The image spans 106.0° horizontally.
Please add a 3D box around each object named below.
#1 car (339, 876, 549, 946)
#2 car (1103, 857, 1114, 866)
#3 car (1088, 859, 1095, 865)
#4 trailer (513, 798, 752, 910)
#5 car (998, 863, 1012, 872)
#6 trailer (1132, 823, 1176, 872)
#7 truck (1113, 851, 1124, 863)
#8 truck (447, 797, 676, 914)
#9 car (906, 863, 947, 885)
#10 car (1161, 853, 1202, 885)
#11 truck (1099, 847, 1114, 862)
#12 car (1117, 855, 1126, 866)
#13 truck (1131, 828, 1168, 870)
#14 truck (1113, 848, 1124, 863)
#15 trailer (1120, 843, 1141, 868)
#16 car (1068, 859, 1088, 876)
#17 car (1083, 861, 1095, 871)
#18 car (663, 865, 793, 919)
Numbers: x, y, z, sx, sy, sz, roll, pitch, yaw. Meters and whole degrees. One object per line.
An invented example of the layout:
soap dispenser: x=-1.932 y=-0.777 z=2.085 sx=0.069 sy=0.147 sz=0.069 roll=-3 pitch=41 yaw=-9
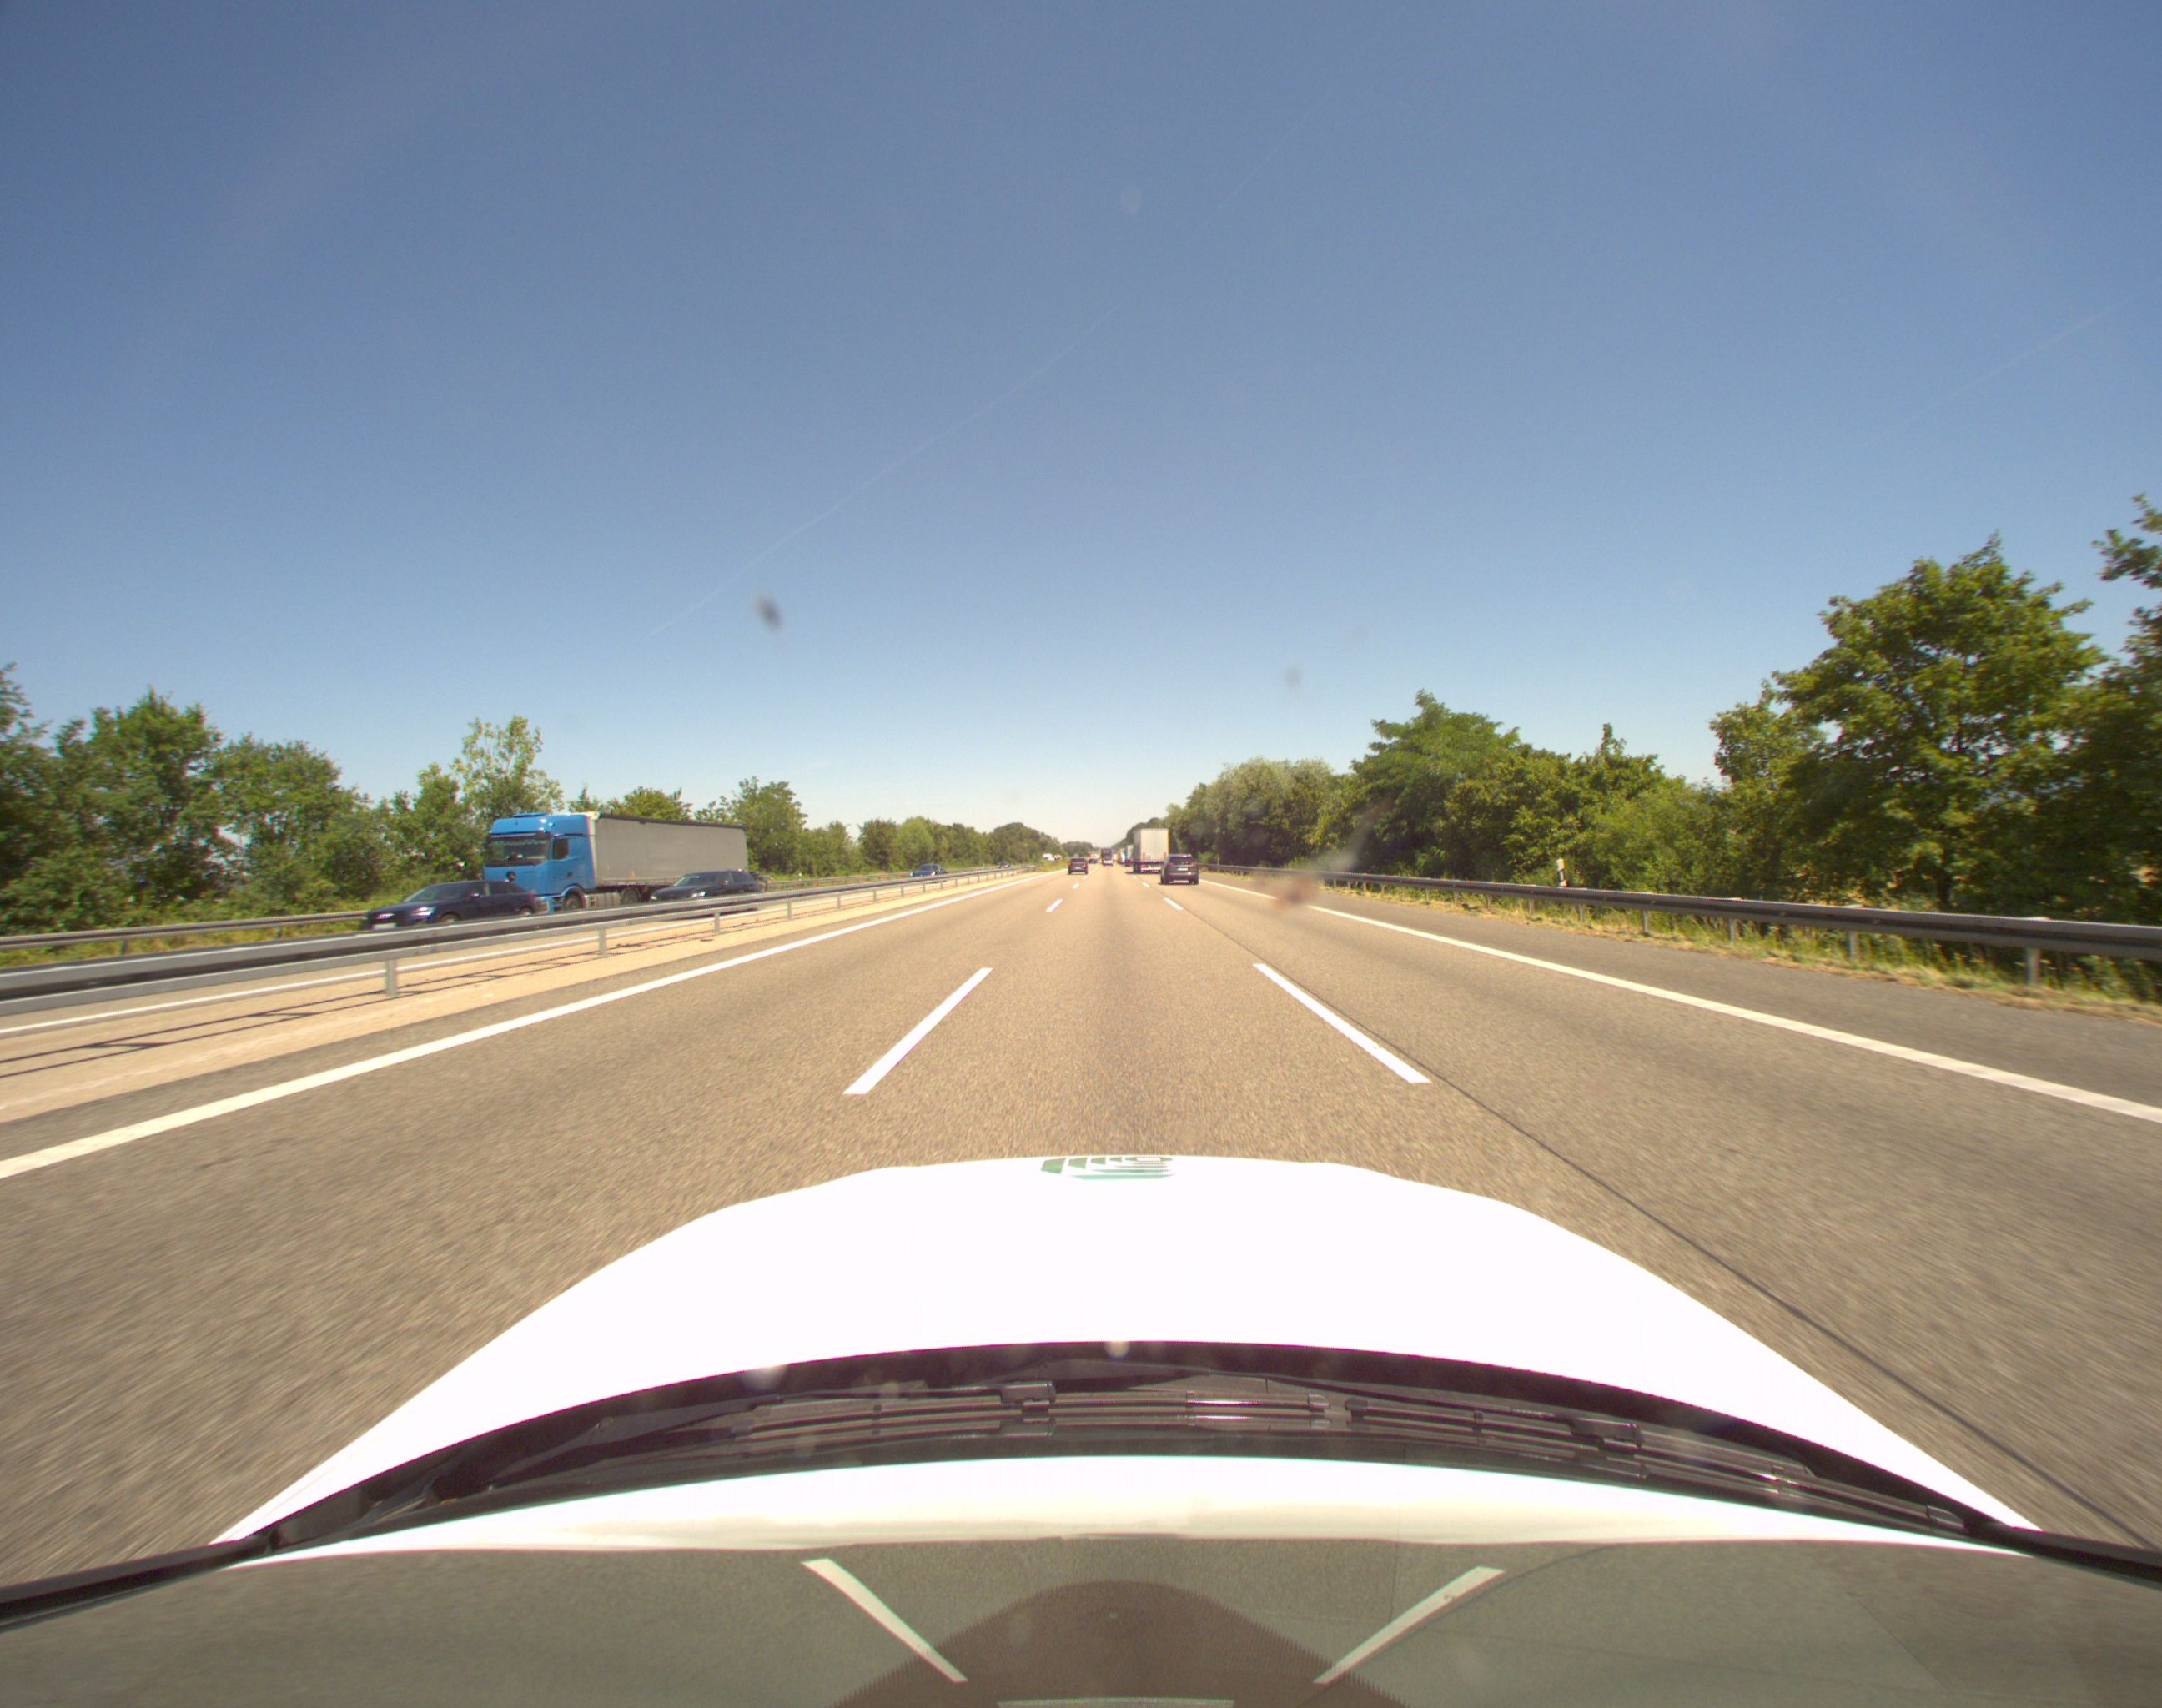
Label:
car: x=-16.019 y=1.359 z=20.839 sx=1.843 sy=1.463 sz=4.315 roll=2 pitch=0 yaw=1
car: x=5.146 y=1.418 z=152.079 sx=1.893 sy=1.531 sz=4.086 roll=0 pitch=0 yaw=2
car: x=3.065 y=2.309 z=234.177 sx=1.900 sy=1.531 sz=4.287 roll=0 pitch=0 yaw=2
trailer: x=-19.989 y=-0.028 z=38.097 sx=3.285 sy=4.186 sz=13.545 roll=-2 pitch=0 yaw=1
car: x=-13.056 y=2.283 z=140.135 sx=1.856 sy=1.401 sz=4.532 roll=-3 pitch=0 yaw=1
trailer: x=6.632 y=-0.464 z=76.465 sx=3.421 sy=4.181 sz=13.639 roll=0 pitch=-1 yaw=2
truck: x=11.800 y=0.851 z=255.632 sx=3.475 sy=3.725 sz=7.114 roll=0 pitch=0 yaw=3
truck: x=-20.133 y=0.030 z=32.510 sx=3.240 sy=3.986 sz=8.731 roll=-1 pitch=0 yaw=2
car: x=-11.025 y=1.396 z=58.369 sx=1.843 sy=1.395 sz=4.743 roll=-4 pitch=-1 yaw=1
car: x=5.425 y=0.780 z=44.431 sx=1.838 sy=1.629 sz=4.137 roll=-1 pitch=0 yaw=2
truck: x=6.464 y=0.143 z=207.294 sx=3.652 sy=3.725 sz=7.114 roll=0 pitch=0 yaw=3
car: x=8.864 y=1.354 z=178.677 sx=1.900 sy=2.425 sz=4.287 roll=0 pitch=0 yaw=2
truck: x=6.983 y=-0.429 z=83.969 sx=3.451 sy=4.177 sz=6.846 roll=0 pitch=-1 yaw=2
truck: x=9.159 y=0.340 z=197.889 sx=2.781 sy=3.725 sz=7.114 roll=0 pitch=0 yaw=3
trailer: x=8.239 y=0.239 z=135.995 sx=3.111 sy=3.926 sz=9.938 roll=0 pitch=0 yaw=1
car: x=-0.249 y=1.236 z=75.326 sx=1.752 sy=1.531 sz=4.287 roll=0 pitch=0 yaw=2
car: x=1.404 y=2.008 z=136.675 sx=1.893 sy=1.531 sz=4.086 roll=0 pitch=0 yaw=2
car: x=-11.466 y=1.175 z=26.942 sx=1.843 sy=1.463 sz=5.171 roll=-4 pitch=-1 yaw=1
